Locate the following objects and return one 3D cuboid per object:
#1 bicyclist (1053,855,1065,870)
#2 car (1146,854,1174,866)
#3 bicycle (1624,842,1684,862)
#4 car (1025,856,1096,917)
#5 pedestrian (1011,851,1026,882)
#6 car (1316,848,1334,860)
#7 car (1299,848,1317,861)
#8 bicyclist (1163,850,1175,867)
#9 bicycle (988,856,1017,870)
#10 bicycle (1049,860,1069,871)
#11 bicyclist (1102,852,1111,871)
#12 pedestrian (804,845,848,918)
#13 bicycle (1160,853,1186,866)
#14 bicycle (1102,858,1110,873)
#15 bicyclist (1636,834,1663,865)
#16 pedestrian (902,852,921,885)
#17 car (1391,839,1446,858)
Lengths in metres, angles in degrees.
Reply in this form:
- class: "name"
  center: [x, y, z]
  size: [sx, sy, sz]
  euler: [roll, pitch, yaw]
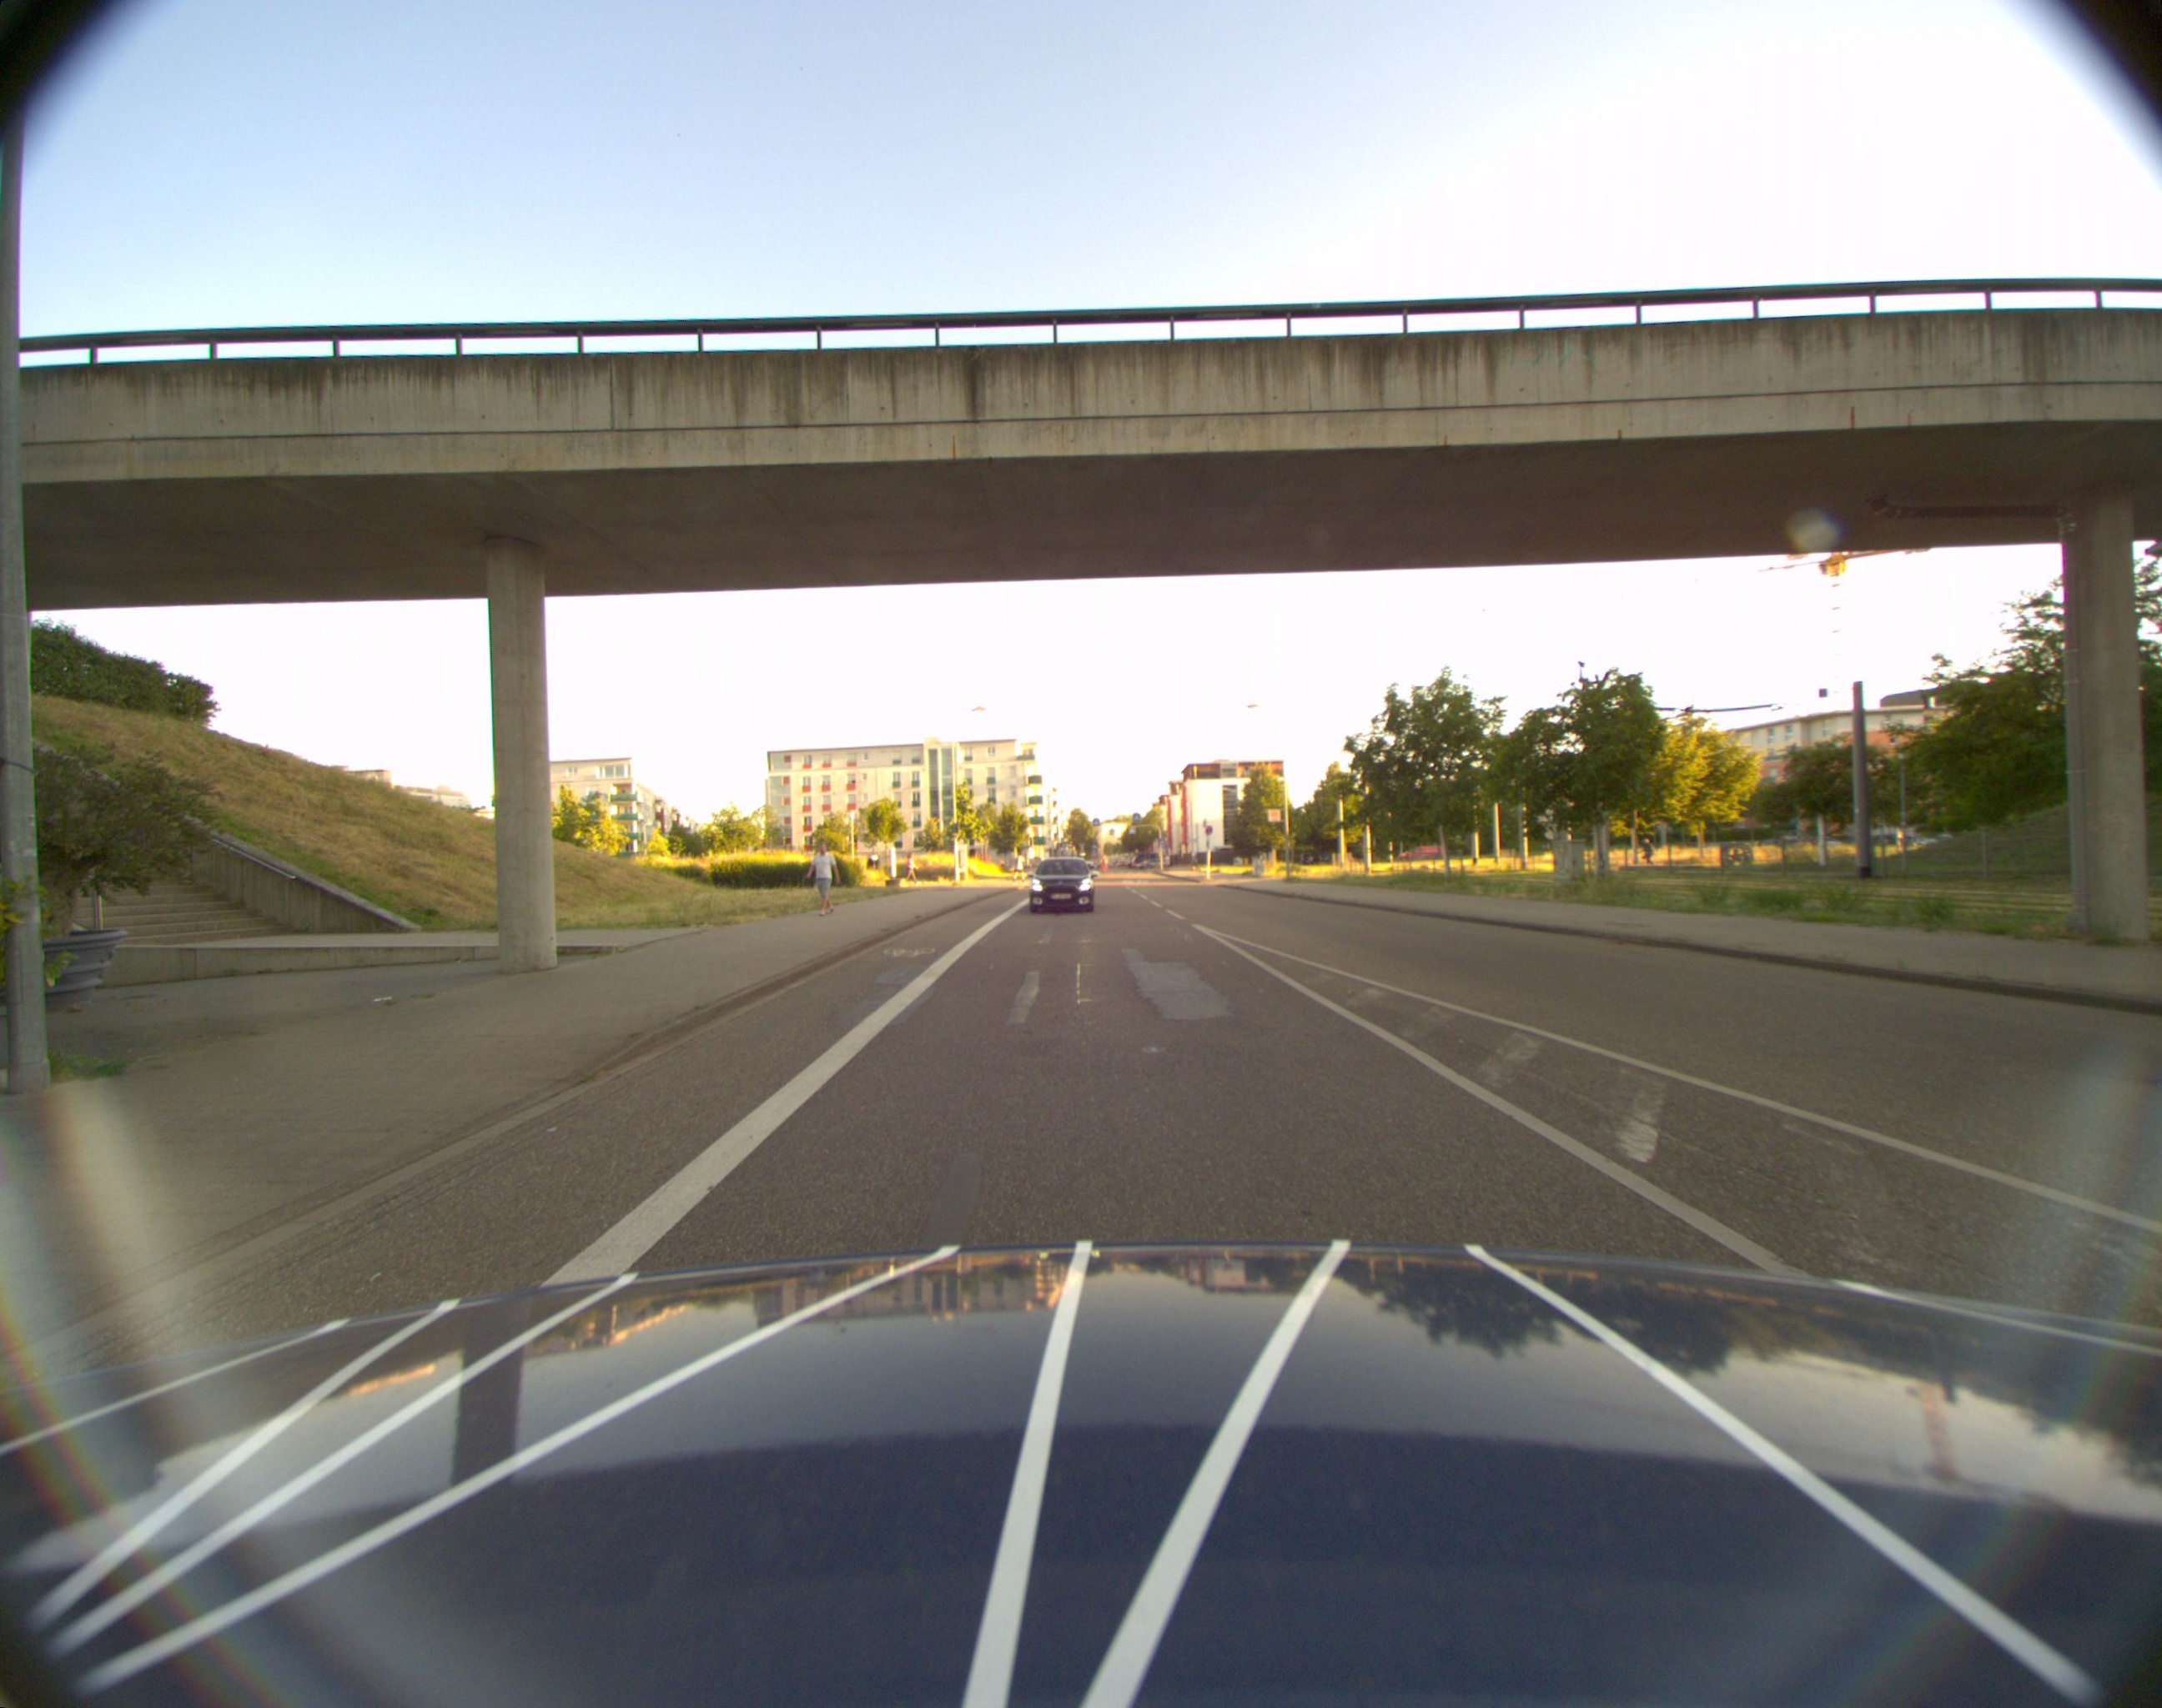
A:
- class: "bicyclist"
  center: [-2.377, 0.945, 83.036]
  size: [0.933, 1.585, 1.066]
  euler: [-2, 0, -20]
- class: "car"
  center: [11.796, 0.888, 113.935]
  size: [3.996, 1.718, 2.000]
  euler: [-2, 0, 2]
- class: "bicycle"
  center: [31.196, -0.095, 41.388]
  size: [2.842, 1.002, 0.655]
  euler: [-2, 0, -3]
- class: "car"
  center: [-0.475, 0.829, 21.110]
  size: [1.739, 1.455, 4.000]
  euler: [-2, 0, 1]
- class: "pedestrian"
  center: [-3.474, 0.695, 42.247]
  size: [0.737, 1.714, 0.532]
  euler: [0, 0, 1]
- class: "car"
  center: [31.065, 0.002, 96.803]
  size: [1.942, 1.521, 4.004]
  euler: [-2, 0, 14]
- class: "car"
  center: [28.987, 0.065, 97.179]
  size: [1.942, 1.521, 4.004]
  euler: [-2, 0, 14]
- class: "bicyclist"
  center: [10.084, 0.548, 87.184]
  size: [1.036, 1.865, 0.881]
  euler: [-2, 1, -40]
- class: "bicycle"
  center: [-10.030, 1.150, 96.972]
  size: [3.539, 1.560, 1.019]
  euler: [-2, 0, 3]
- class: "bicycle"
  center: [-2.439, 1.276, 82.912]
  size: [0.901, 1.142, 3.492]
  euler: [-2, 0, -24]
- class: "bicyclist"
  center: [2.280, 0.648, 67.343]
  size: [0.697, 1.630, 0.852]
  euler: [-2, 0, 4]
- class: "pedestrian"
  center: [-6.127, 0.649, 18.300]
  size: [0.737, 1.714, 0.906]
  euler: [0, 0, 1]
- class: "bicycle"
  center: [10.643, 0.636, 87.712]
  size: [3.327, 1.483, 0.885]
  euler: [-2, 0, -41]
- class: "bicycle"
  center: [2.230, 1.001, 67.297]
  size: [0.662, 1.217, 2.440]
  euler: [-2, 0, 3]
- class: "bicyclist"
  center: [30.979, -0.233, 41.403]
  size: [0.910, 1.622, 0.717]
  euler: [-2, 0, -4]
- class: "pedestrian"
  center: [-8.597, 0.723, 38.646]
  size: [0.737, 1.620, 0.859]
  euler: [0, 0, 2]
- class: "car"
  center: [40.049, -0.626, 90.264]
  size: [5.518, 2.002, 2.002]
  euler: [-2, 0, 10]
